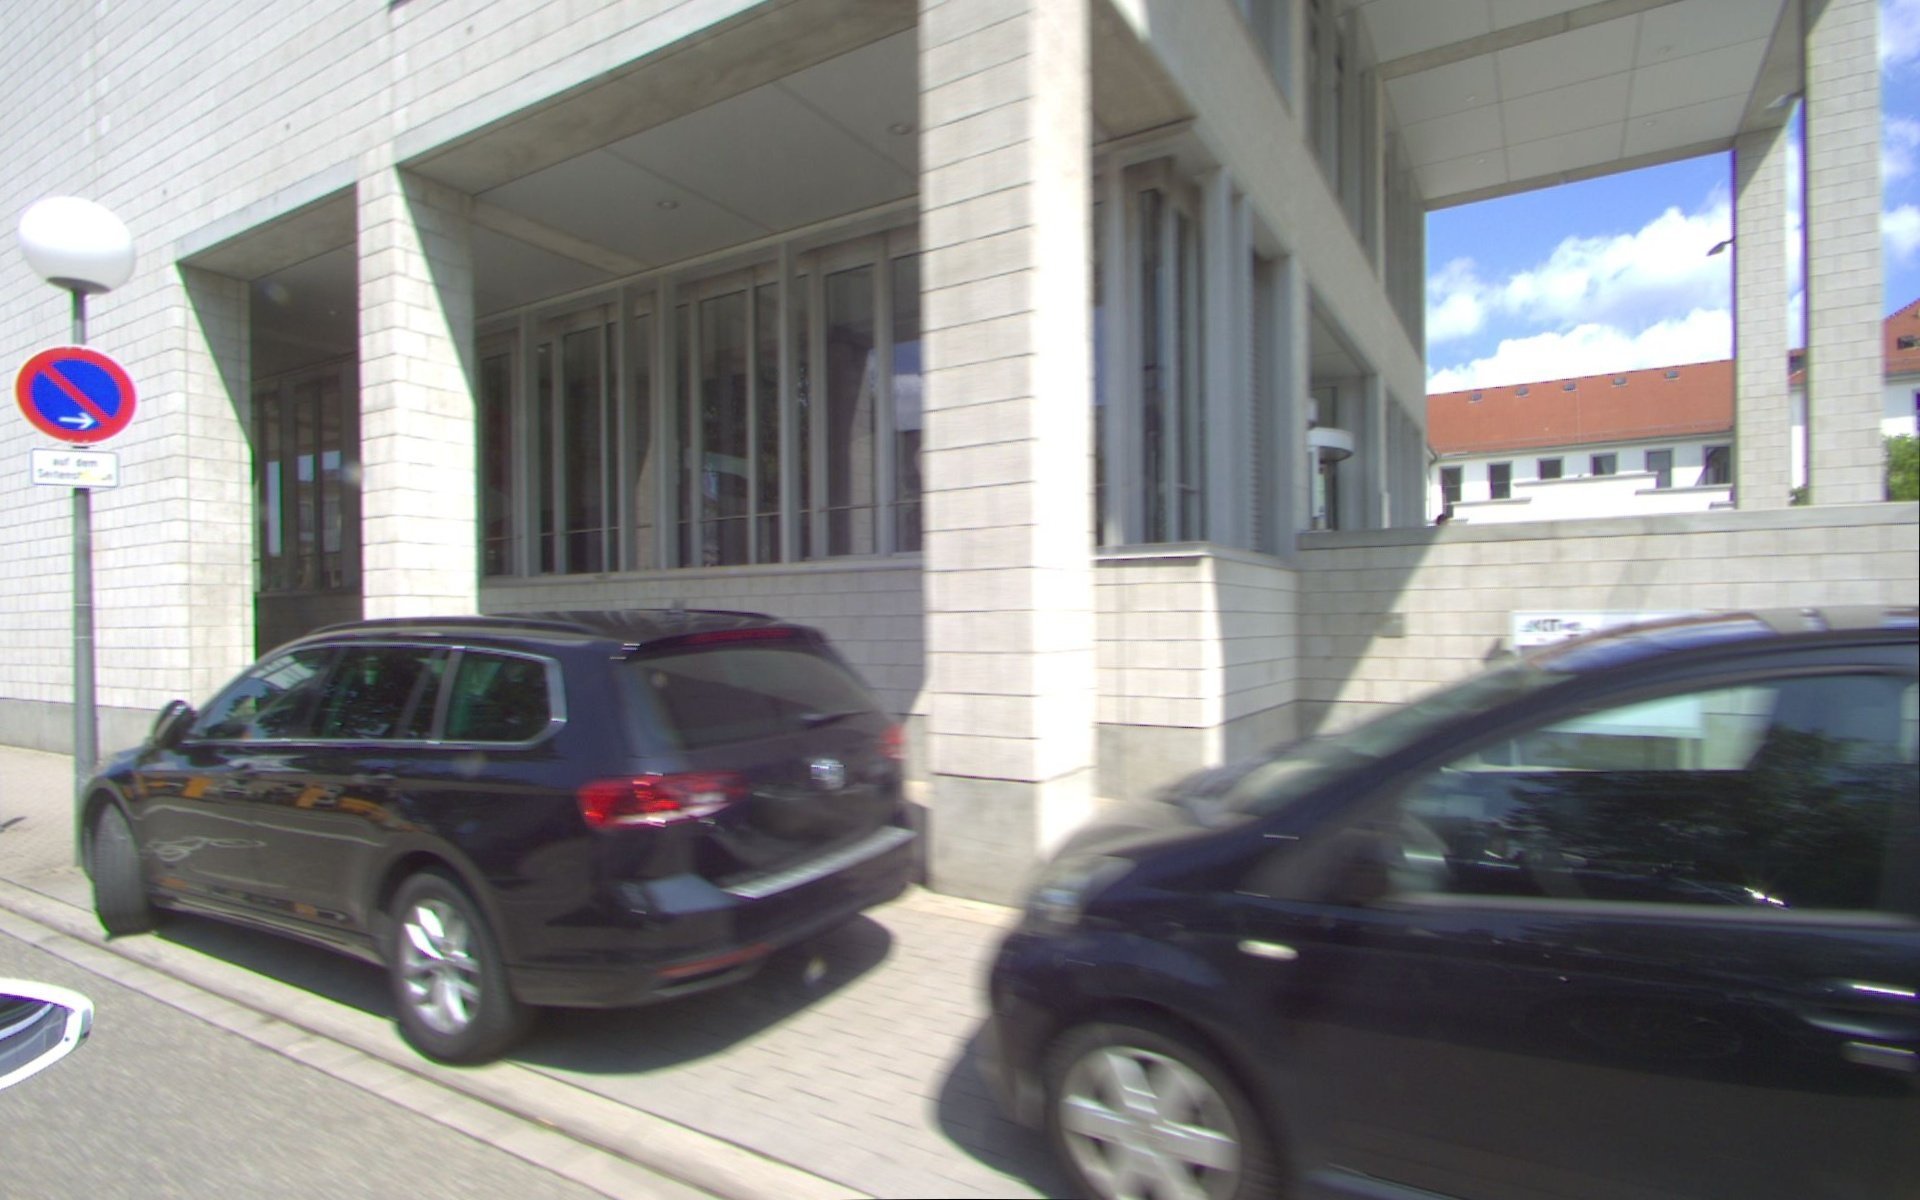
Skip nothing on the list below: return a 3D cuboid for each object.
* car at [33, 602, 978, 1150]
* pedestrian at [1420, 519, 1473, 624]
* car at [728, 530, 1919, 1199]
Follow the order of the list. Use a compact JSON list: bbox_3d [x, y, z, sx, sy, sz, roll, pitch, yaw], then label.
[{"bbox_3d":[-2.299,0.799,4.681,4.454,1.483,1.863,-1,-1,31],"label":"car"},{"bbox_3d":[8.779,-0.494,18.078,0.707,1.821,0.716,-3,-1,34],"label":"pedestrian"},{"bbox_3d":[1.428,0.668,2.603,3.947,1.516,1.612,-1,-1,30],"label":"car"}]
